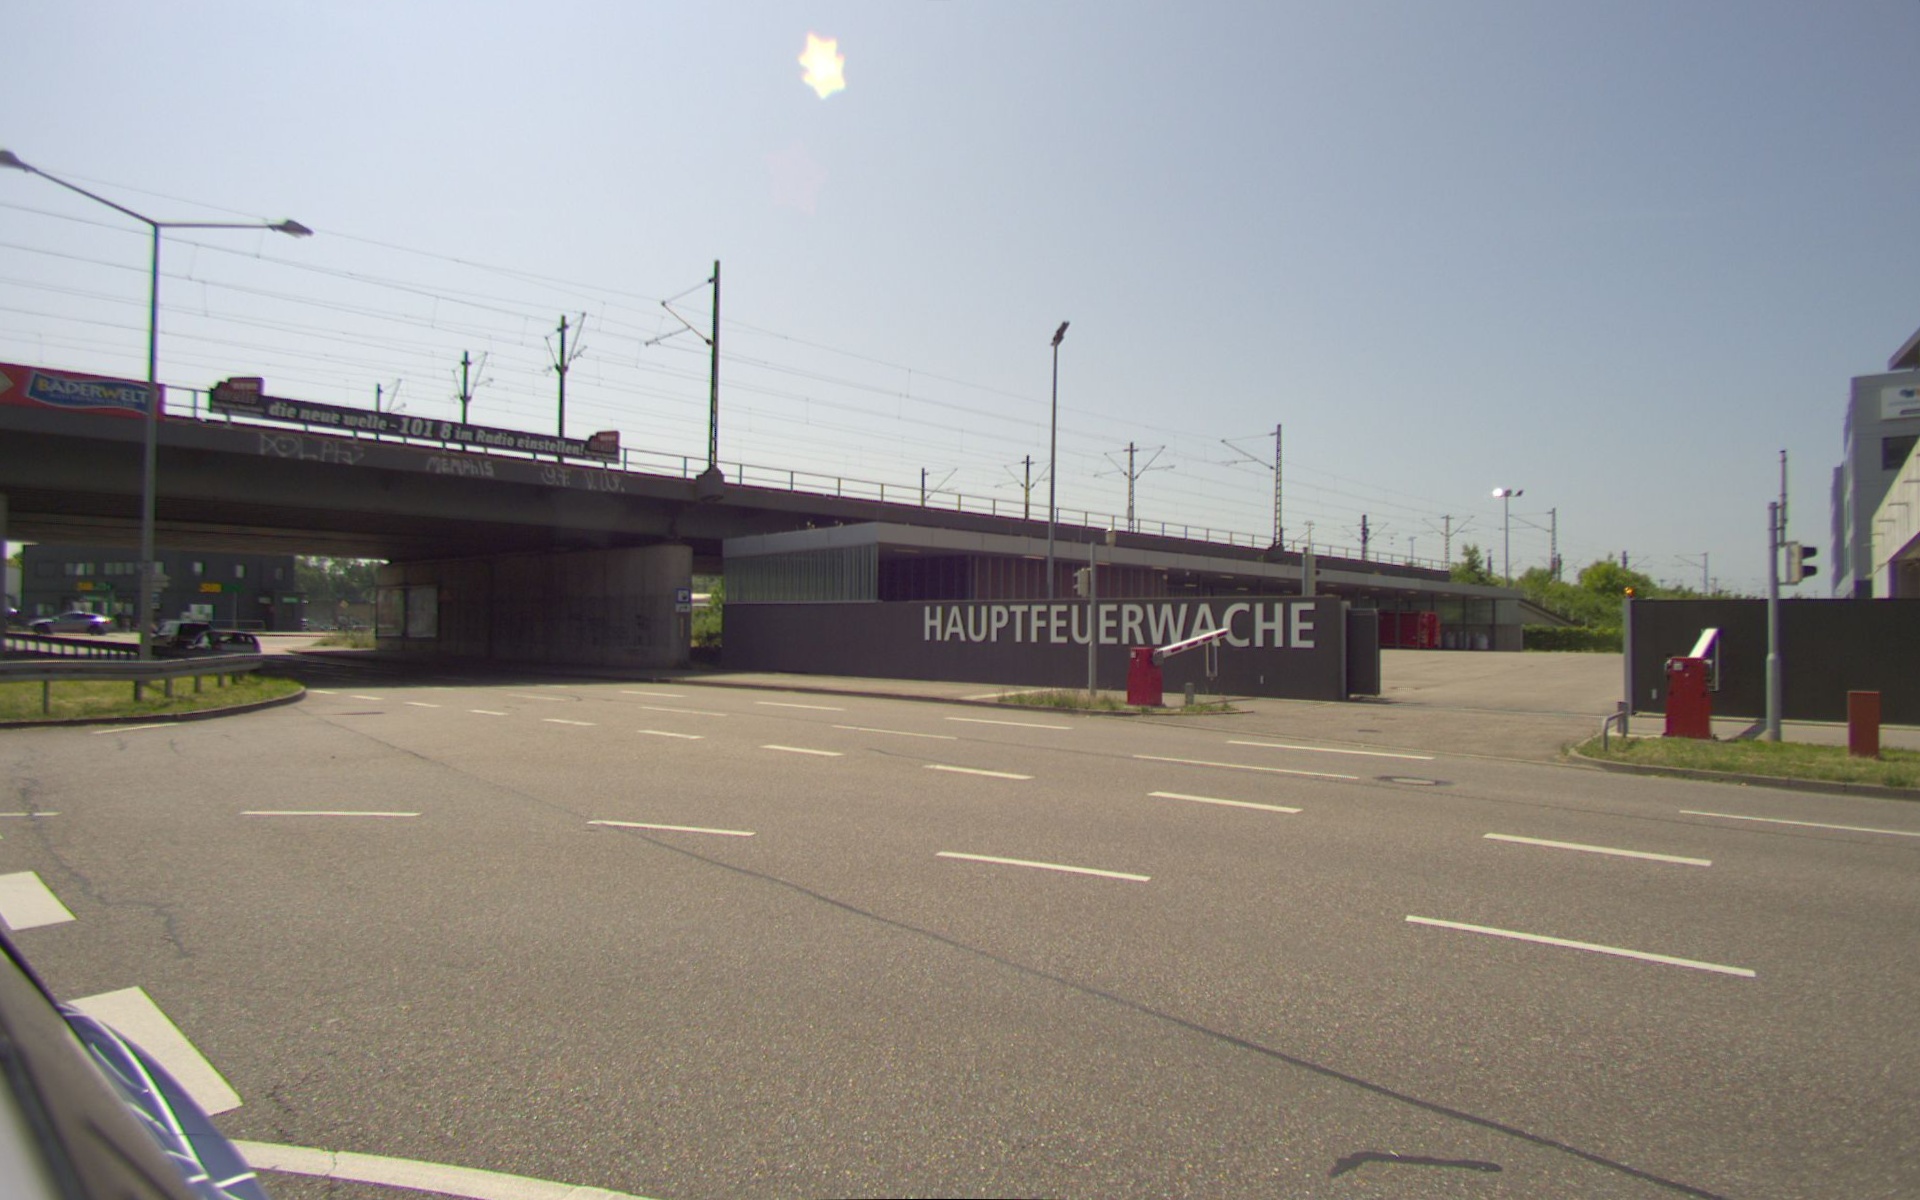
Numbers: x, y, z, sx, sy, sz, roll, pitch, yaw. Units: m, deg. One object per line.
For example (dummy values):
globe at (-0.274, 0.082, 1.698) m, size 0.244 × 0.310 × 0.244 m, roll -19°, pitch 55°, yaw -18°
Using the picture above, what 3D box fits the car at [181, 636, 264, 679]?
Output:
car at (-26.222, 2.006, 35.970) m, size 3.372 × 1.461 × 1.688 m, roll -1°, pitch -3°, yaw 41°

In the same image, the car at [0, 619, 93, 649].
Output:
car at (-53.592, 2.018, 59.423) m, size 3.939 × 1.697 × 2.002 m, roll 2°, pitch -3°, yaw -43°

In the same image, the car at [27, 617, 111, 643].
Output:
car at (-59.830, 2.036, 68.045) m, size 3.932 × 1.697 × 2.005 m, roll 1°, pitch -2°, yaw -33°

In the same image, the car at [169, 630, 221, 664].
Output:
car at (-36.414, 2.210, 48.123) m, size 1.685 × 1.556 × 3.378 m, roll 3°, pitch -3°, yaw -41°
